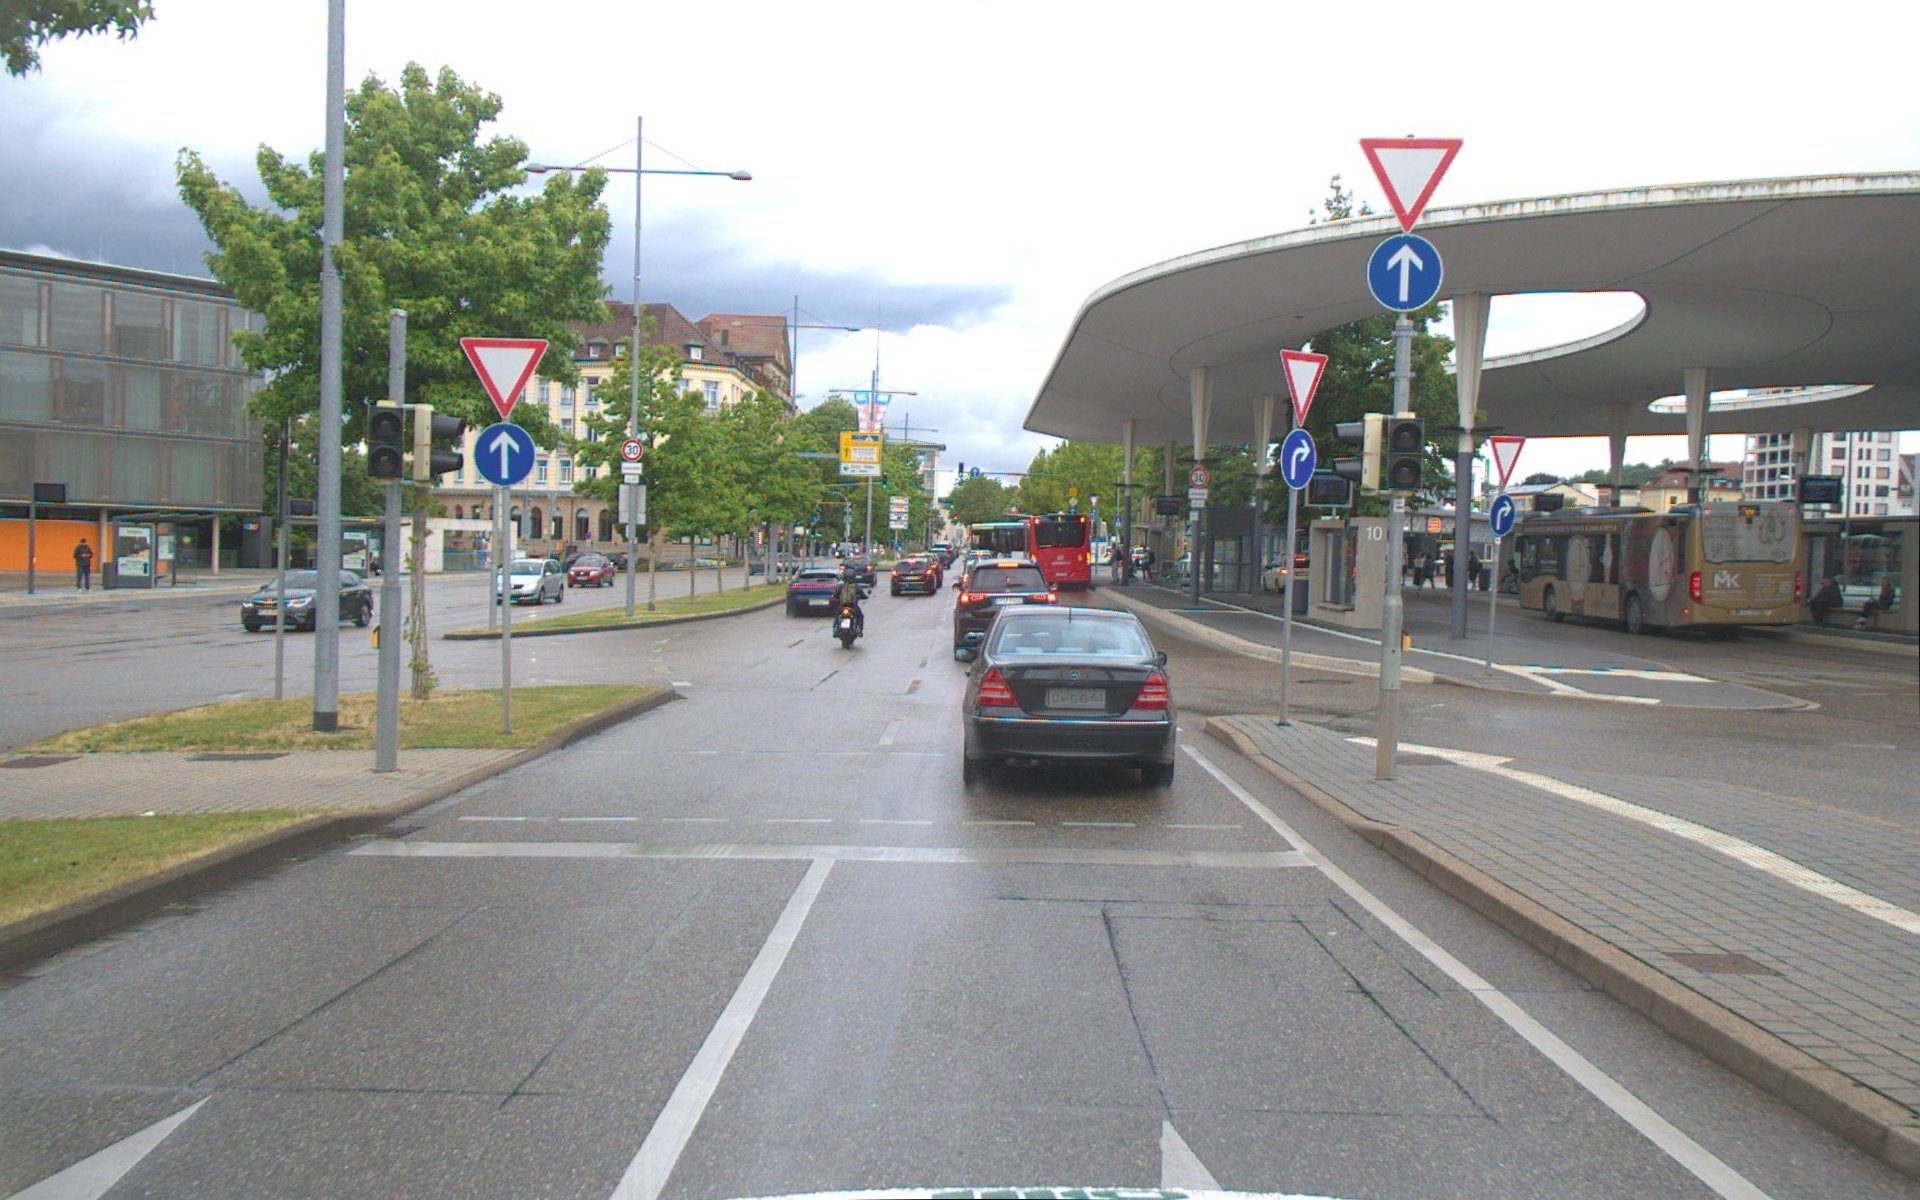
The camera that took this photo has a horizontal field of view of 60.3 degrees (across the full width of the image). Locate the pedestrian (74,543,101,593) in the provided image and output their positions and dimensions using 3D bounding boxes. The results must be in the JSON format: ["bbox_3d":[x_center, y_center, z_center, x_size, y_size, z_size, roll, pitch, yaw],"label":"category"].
[{"bbox_3d":[-30.058,-1.091,56.986,0.464,1.713,0.764,0,1,7],"label":"pedestrian"}]

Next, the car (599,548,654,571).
[{"bbox_3d":[-24.341,-2.967,120.683,3.686,1.588,1.729,1,0,30],"label":"car"}]

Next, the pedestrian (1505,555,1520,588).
[{"bbox_3d":[22.143,-1.144,66.249,0.450,1.272,0.562,2,2,29],"label":"pedestrian"}]

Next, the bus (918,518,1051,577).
[{"bbox_3d":[1.588,-3.766,118.393,2.818,4.057,11.700,0,2,-38],"label":"bus"}]

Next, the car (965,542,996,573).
[{"bbox_3d":[1.070,-2.282,87.714,1.543,1.594,3.872,-1,2,0],"label":"car"}]

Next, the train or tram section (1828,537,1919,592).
[{"bbox_3d":[68.136,-2.597,120.464,3.068,3.722,12.325,4,2,0],"label":"train or tram section"}]

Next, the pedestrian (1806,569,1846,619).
[{"bbox_3d":[22.069,-0.159,42.147,0.776,1.247,0.634,1,1,17],"label":"pedestrian"}]

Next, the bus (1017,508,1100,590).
[{"bbox_3d":[4.208,-2.265,72.899,3.218,3.349,10.881,0,2,1],"label":"bus"}]

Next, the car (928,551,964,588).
[{"bbox_3d":[-0.634,-1.439,75.817,1.543,1.594,3.872,-1,2,0],"label":"car"}]

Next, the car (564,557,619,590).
[{"bbox_3d":[-18.567,-1.361,83.516,1.785,1.579,4.034,0,2,1],"label":"car"}]

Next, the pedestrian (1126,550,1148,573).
[{"bbox_3d":[8.381,-1.807,78.223,0.894,1.002,0.634,2,-2,14],"label":"pedestrian"}]

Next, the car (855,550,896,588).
[{"bbox_3d":[-3.960,-1.492,78.091,1.642,1.651,3.872,-1,2,0],"label":"car"}]

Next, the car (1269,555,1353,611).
[{"bbox_3d":[9.908,-0.500,46.883,1.614,1.478,3.237,1,2,-2],"label":"car"}]

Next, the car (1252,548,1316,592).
[{"bbox_3d":[13.165,-1.252,67.444,1.677,1.691,4.240,2,2,-1],"label":"car"}]

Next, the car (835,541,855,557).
[{"bbox_3d":[-11.440,-5.111,165.078,1.743,1.594,3.430,-1,2,0],"label":"car"}]

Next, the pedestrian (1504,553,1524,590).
[{"bbox_3d":[21.912,-1.129,65.458,0.549,1.469,0.613,1,1,-3],"label":"pedestrian"}]

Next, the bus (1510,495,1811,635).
[{"bbox_3d":[17.521,-0.968,42.645,2.665,3.096,12.091,0,2,0],"label":"bus"}]

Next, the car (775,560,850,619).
[{"bbox_3d":[-4.401,-0.344,49.875,1.779,1.597,4.405,-1,2,0],"label":"car"}]

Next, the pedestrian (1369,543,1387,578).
[{"bbox_3d":[19.757,-1.882,78.182,0.568,1.605,0.560,3,-2,30],"label":"pedestrian"}]

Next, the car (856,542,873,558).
[{"bbox_3d":[-9.850,-5.169,171.280,1.543,1.594,3.430,-1,2,0],"label":"car"}]

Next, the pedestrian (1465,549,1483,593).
[{"bbox_3d":[22.635,-1.292,72.843,0.578,1.907,0.715,2,2,29],"label":"pedestrian"}]

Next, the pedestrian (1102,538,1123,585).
[{"bbox_3d":[6.860,-1.717,74.398,0.761,2.048,0.782,4,3,13],"label":"pedestrian"}]

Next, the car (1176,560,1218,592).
[{"bbox_3d":[13.453,-1.407,94.128,1.677,1.691,4.240,2,2,-1],"label":"car"}]

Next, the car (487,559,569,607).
[{"bbox_3d":[-15.847,-0.647,60.884,1.809,1.681,4.420,1,1,0],"label":"car"}]

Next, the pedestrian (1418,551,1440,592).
[{"bbox_3d":[18.636,-1.134,65.770,0.587,1.609,0.710,0,0,-9],"label":"pedestrian"}]

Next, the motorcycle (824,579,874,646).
[{"bbox_3d":[-2.270,0.239,34.015,0.776,1.284,1.856,-1,2,4],"label":"motorcycle"}]

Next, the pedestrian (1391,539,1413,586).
[{"bbox_3d":[20.000,-1.677,74.847,0.709,2.049,0.669,3,-2,27],"label":"pedestrian"}]

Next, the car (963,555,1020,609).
[{"bbox_3d":[0.980,-0.599,52.411,1.705,1.594,3.872,-1,2,0],"label":"car"}]

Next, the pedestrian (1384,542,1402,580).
[{"bbox_3d":[20.524,-1.839,78.352,0.569,1.745,0.559,3,-2,35],"label":"pedestrian"}]

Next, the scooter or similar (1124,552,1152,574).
[{"bbox_3d":[8.438,-1.741,78.306,1.216,1.030,0.765,1,1,14],"label":"scooter or similar"}]

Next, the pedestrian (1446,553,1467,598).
[{"bbox_3d":[19.484,-0.970,64.896,0.549,1.721,0.613,1,2,-7],"label":"pedestrian"}]

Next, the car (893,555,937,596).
[{"bbox_3d":[-1.791,-1.028,67.038,1.543,1.530,3.872,-1,2,1],"label":"car"}]

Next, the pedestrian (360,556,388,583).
[{"bbox_3d":[-29.444,-1.552,83.093,0.956,1.289,0.850,5,3,21],"label":"pedestrian"}]

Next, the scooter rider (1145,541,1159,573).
[{"bbox_3d":[9.071,-2.030,78.160,0.579,1.516,0.765,1,1,14],"label":"scooter rider"}]

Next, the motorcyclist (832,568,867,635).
[{"bbox_3d":[-2.275,0.023,34.097,0.628,1.370,0.689,0,2,3],"label":"motorcyclist"}]

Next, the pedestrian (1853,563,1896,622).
[{"bbox_3d":[22.113,-0.178,39.982,0.776,1.401,0.634,1,1,17],"label":"pedestrian"}]

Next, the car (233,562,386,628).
[{"bbox_3d":[-16.176,-0.174,41.411,1.809,1.530,4.921,1,1,1],"label":"car"}]

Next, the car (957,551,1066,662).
[{"bbox_3d":[0.933,0.041,31.902,1.917,1.908,4.874,-1,2,0],"label":"car"}]

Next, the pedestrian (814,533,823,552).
[{"bbox_3d":[-14.269,-5.800,166.781,0.715,2.000,0.819,-1,2,-26],"label":"pedestrian"}]

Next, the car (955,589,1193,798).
[{"bbox_3d":[0.820,0.659,14.095,1.663,1.487,4.303,0,1,-1],"label":"car"}]

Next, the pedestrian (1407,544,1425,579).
[{"bbox_3d":[21.660,-1.815,78.584,0.569,1.605,0.559,3,-2,35],"label":"pedestrian"}]

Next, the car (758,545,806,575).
[{"bbox_3d":[-11.610,-2.588,107.736,1.841,1.713,3.970,4,-1,-24],"label":"car"}]
